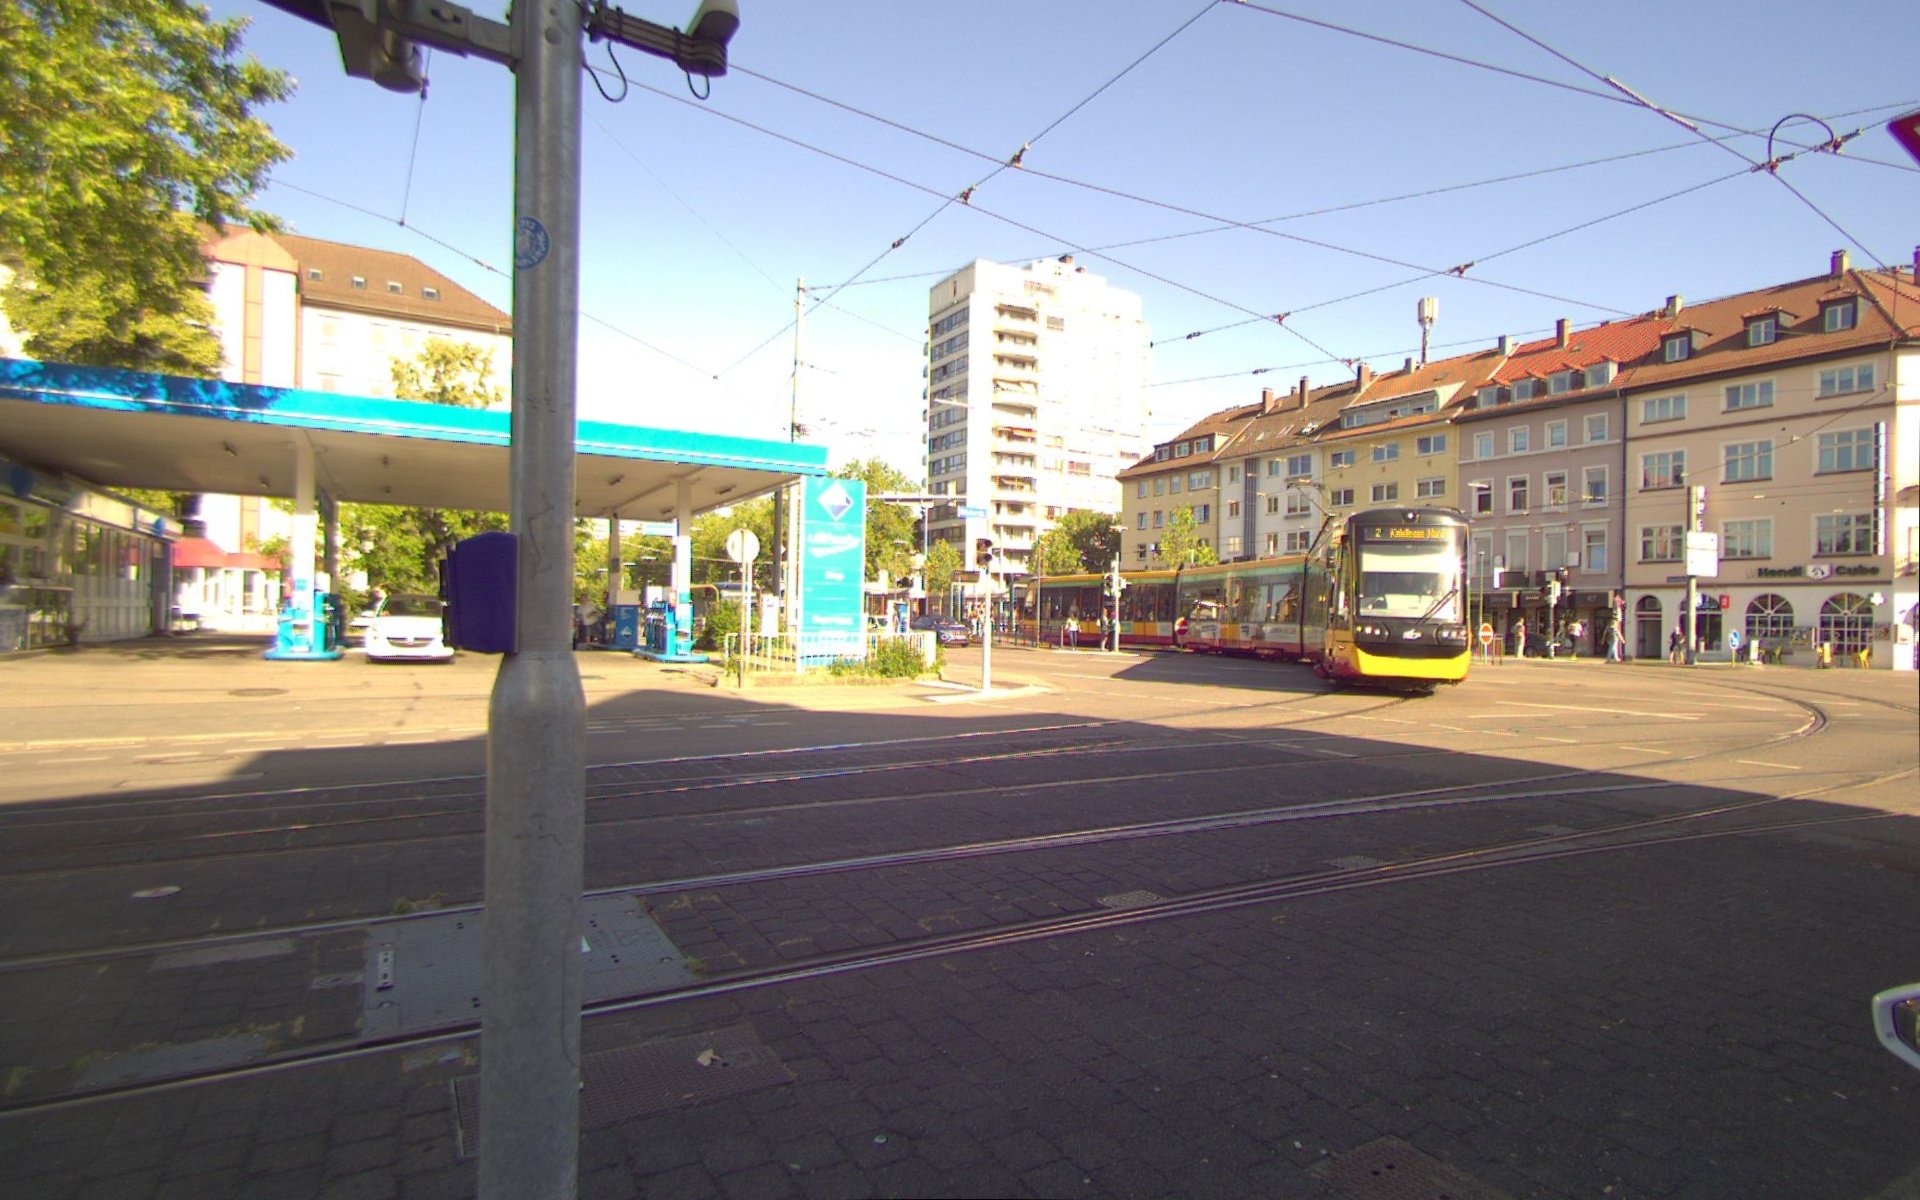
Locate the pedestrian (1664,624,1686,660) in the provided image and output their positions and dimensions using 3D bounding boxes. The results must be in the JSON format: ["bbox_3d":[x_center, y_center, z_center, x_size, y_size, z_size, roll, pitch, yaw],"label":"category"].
[{"bbox_3d":[34.123,2.021,47.951,0.743,1.692,0.579,2,0,-30],"label":"pedestrian"}]

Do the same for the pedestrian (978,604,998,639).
[{"bbox_3d":[1.390,1.059,50.212,0.747,1.756,0.797,0,0,-28],"label":"pedestrian"}]

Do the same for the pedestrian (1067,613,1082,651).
[{"bbox_3d":[4.850,1.345,42.694,0.602,1.598,0.834,0,0,5],"label":"pedestrian"}]

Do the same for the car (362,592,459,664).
[{"bbox_3d":[-12.211,0.603,22.351,1.737,1.461,3.543,1,-1,-29],"label":"car"}]

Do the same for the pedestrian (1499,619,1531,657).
[{"bbox_3d":[24.394,1.670,44.148,0.821,1.598,0.847,2,0,-20],"label":"pedestrian"}]

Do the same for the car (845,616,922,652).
[{"bbox_3d":[-3.599,1.553,46.737,1.871,1.550,3.963,1,-1,-33],"label":"car"}]

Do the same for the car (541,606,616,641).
[{"bbox_3d":[-16.872,1.041,44.603,1.722,1.461,3.572,1,-1,5],"label":"car"}]

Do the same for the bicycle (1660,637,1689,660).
[{"bbox_3d":[34.105,2.319,47.944,1.479,1.091,0.570,2,0,-30],"label":"bicycle"}]

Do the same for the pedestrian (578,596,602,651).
[{"bbox_3d":[-11.816,0.752,32.081,0.490,1.724,0.500,1,-1,13],"label":"pedestrian"}]

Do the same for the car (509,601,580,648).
[{"bbox_3d":[-13.561,0.783,32.677,1.737,1.461,3.543,1,-1,-29],"label":"car"}]

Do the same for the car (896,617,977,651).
[{"bbox_3d":[-1.172,1.617,48.366,1.875,1.550,3.955,1,-2,-39],"label":"car"}]

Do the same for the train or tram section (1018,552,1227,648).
[{"bbox_3d":[7.068,0.076,46.619,2.905,3.864,12.033,1,-1,-28],"label":"train or tram section"}]

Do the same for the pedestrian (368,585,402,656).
[{"bbox_3d":[-14.085,0.510,24.611,0.640,1.724,0.497,1,-1,-26],"label":"pedestrian"}]

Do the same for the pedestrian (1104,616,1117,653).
[{"bbox_3d":[6.141,1.406,40.964,0.472,1.525,0.462,0,0,6],"label":"pedestrian"}]

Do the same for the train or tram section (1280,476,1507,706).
[{"bbox_3d":[9.402,-0.042,23.543,2.882,3.864,13.061,1,-1,15],"label":"train or tram section"}]

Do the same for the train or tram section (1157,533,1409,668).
[{"bbox_3d":[10.667,0.123,35.516,2.888,3.864,12.799,1,-1,-10],"label":"train or tram section"}]

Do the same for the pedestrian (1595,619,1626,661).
[{"bbox_3d":[25.327,1.563,39.121,0.817,1.598,0.552,2,0,-2],"label":"pedestrian"}]

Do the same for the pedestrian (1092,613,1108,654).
[{"bbox_3d":[5.844,1.393,41.964,0.626,1.666,0.462,0,0,6],"label":"pedestrian"}]

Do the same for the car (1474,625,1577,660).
[{"bbox_3d":[30.815,2.293,54.841,2.277,1.734,4.350,2,0,-27],"label":"car"}]

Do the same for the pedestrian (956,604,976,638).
[{"bbox_3d":[0.299,1.093,52.243,0.747,1.756,0.797,0,0,-28],"label":"pedestrian"}]

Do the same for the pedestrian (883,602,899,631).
[{"bbox_3d":[-4.162,0.995,60.601,0.747,1.756,0.797,0,0,-28],"label":"pedestrian"}]

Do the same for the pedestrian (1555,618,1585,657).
[{"bbox_3d":[25.829,1.596,42.532,0.821,1.598,0.724,2,0,-20],"label":"pedestrian"}]

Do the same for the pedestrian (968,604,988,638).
[{"bbox_3d":[0.934,1.113,52.468,0.747,1.756,0.797,0,0,-28],"label":"pedestrian"}]
